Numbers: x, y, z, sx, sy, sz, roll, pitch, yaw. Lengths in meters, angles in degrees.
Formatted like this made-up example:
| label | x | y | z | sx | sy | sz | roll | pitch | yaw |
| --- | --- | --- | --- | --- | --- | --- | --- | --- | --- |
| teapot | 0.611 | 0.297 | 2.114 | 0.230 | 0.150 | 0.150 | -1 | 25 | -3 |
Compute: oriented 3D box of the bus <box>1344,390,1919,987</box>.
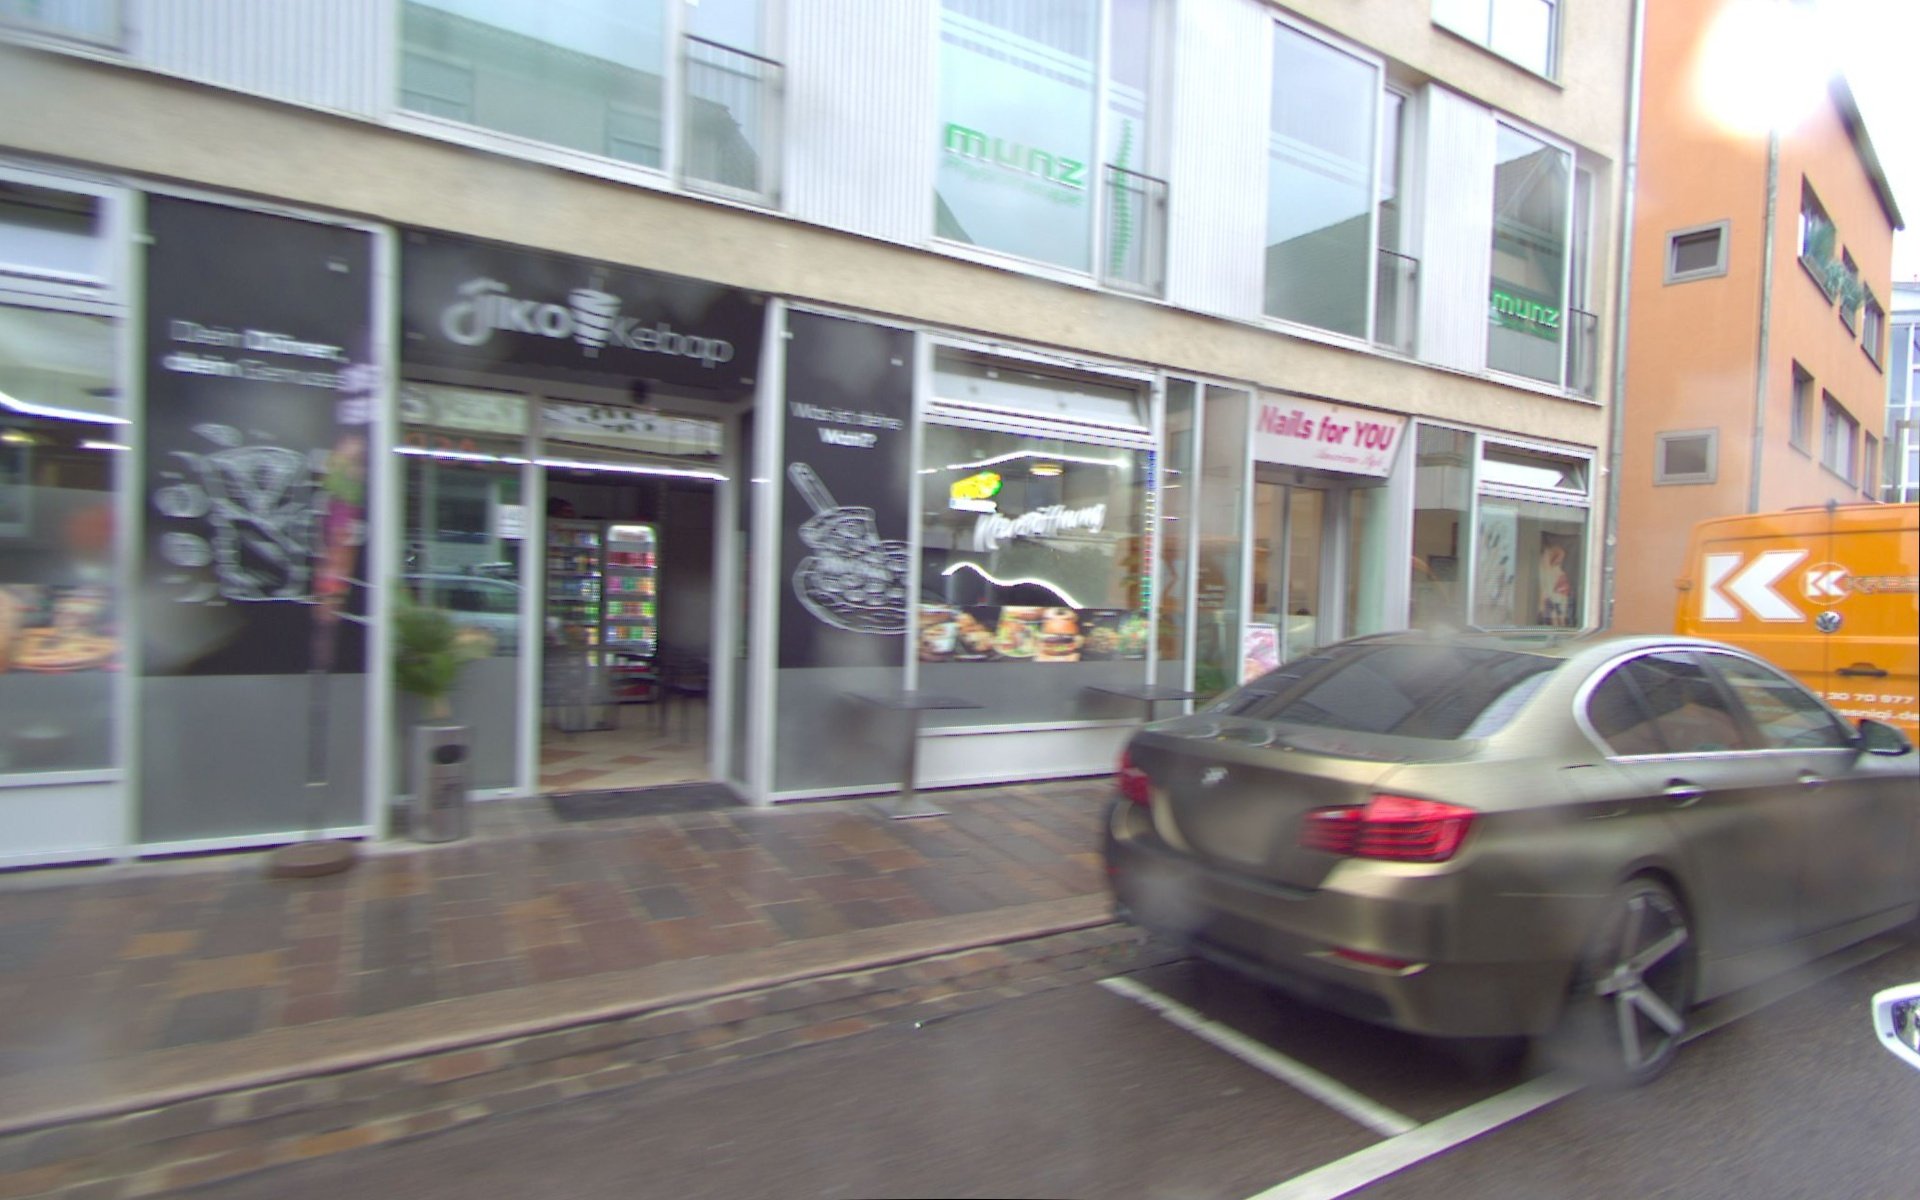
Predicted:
| label | x | y | z | sx | sy | sz | roll | pitch | yaw |
| --- | --- | --- | --- | --- | --- | --- | --- | --- | --- |
| bus | 8.103 | 0.583 | 9.292 | 10.492 | 3.130 | 2.797 | 2 | 0 | -33 |

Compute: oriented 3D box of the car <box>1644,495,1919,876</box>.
| label | x | y | z | sx | sy | sz | roll | pitch | yaw |
| --- | --- | --- | --- | --- | --- | --- | --- | --- | --- |
| car | 7.913 | 0.574 | 7.961 | 5.797 | 2.269 | 1.982 | 2 | 0 | -33 |

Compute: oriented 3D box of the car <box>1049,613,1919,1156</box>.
| label | x | y | z | sx | sy | sz | roll | pitch | yaw |
| --- | --- | --- | --- | --- | --- | --- | --- | --- | --- |
| car | 2.723 | 0.781 | 4.521 | 4.427 | 1.374 | 1.748 | 0 | 1 | -30 |
